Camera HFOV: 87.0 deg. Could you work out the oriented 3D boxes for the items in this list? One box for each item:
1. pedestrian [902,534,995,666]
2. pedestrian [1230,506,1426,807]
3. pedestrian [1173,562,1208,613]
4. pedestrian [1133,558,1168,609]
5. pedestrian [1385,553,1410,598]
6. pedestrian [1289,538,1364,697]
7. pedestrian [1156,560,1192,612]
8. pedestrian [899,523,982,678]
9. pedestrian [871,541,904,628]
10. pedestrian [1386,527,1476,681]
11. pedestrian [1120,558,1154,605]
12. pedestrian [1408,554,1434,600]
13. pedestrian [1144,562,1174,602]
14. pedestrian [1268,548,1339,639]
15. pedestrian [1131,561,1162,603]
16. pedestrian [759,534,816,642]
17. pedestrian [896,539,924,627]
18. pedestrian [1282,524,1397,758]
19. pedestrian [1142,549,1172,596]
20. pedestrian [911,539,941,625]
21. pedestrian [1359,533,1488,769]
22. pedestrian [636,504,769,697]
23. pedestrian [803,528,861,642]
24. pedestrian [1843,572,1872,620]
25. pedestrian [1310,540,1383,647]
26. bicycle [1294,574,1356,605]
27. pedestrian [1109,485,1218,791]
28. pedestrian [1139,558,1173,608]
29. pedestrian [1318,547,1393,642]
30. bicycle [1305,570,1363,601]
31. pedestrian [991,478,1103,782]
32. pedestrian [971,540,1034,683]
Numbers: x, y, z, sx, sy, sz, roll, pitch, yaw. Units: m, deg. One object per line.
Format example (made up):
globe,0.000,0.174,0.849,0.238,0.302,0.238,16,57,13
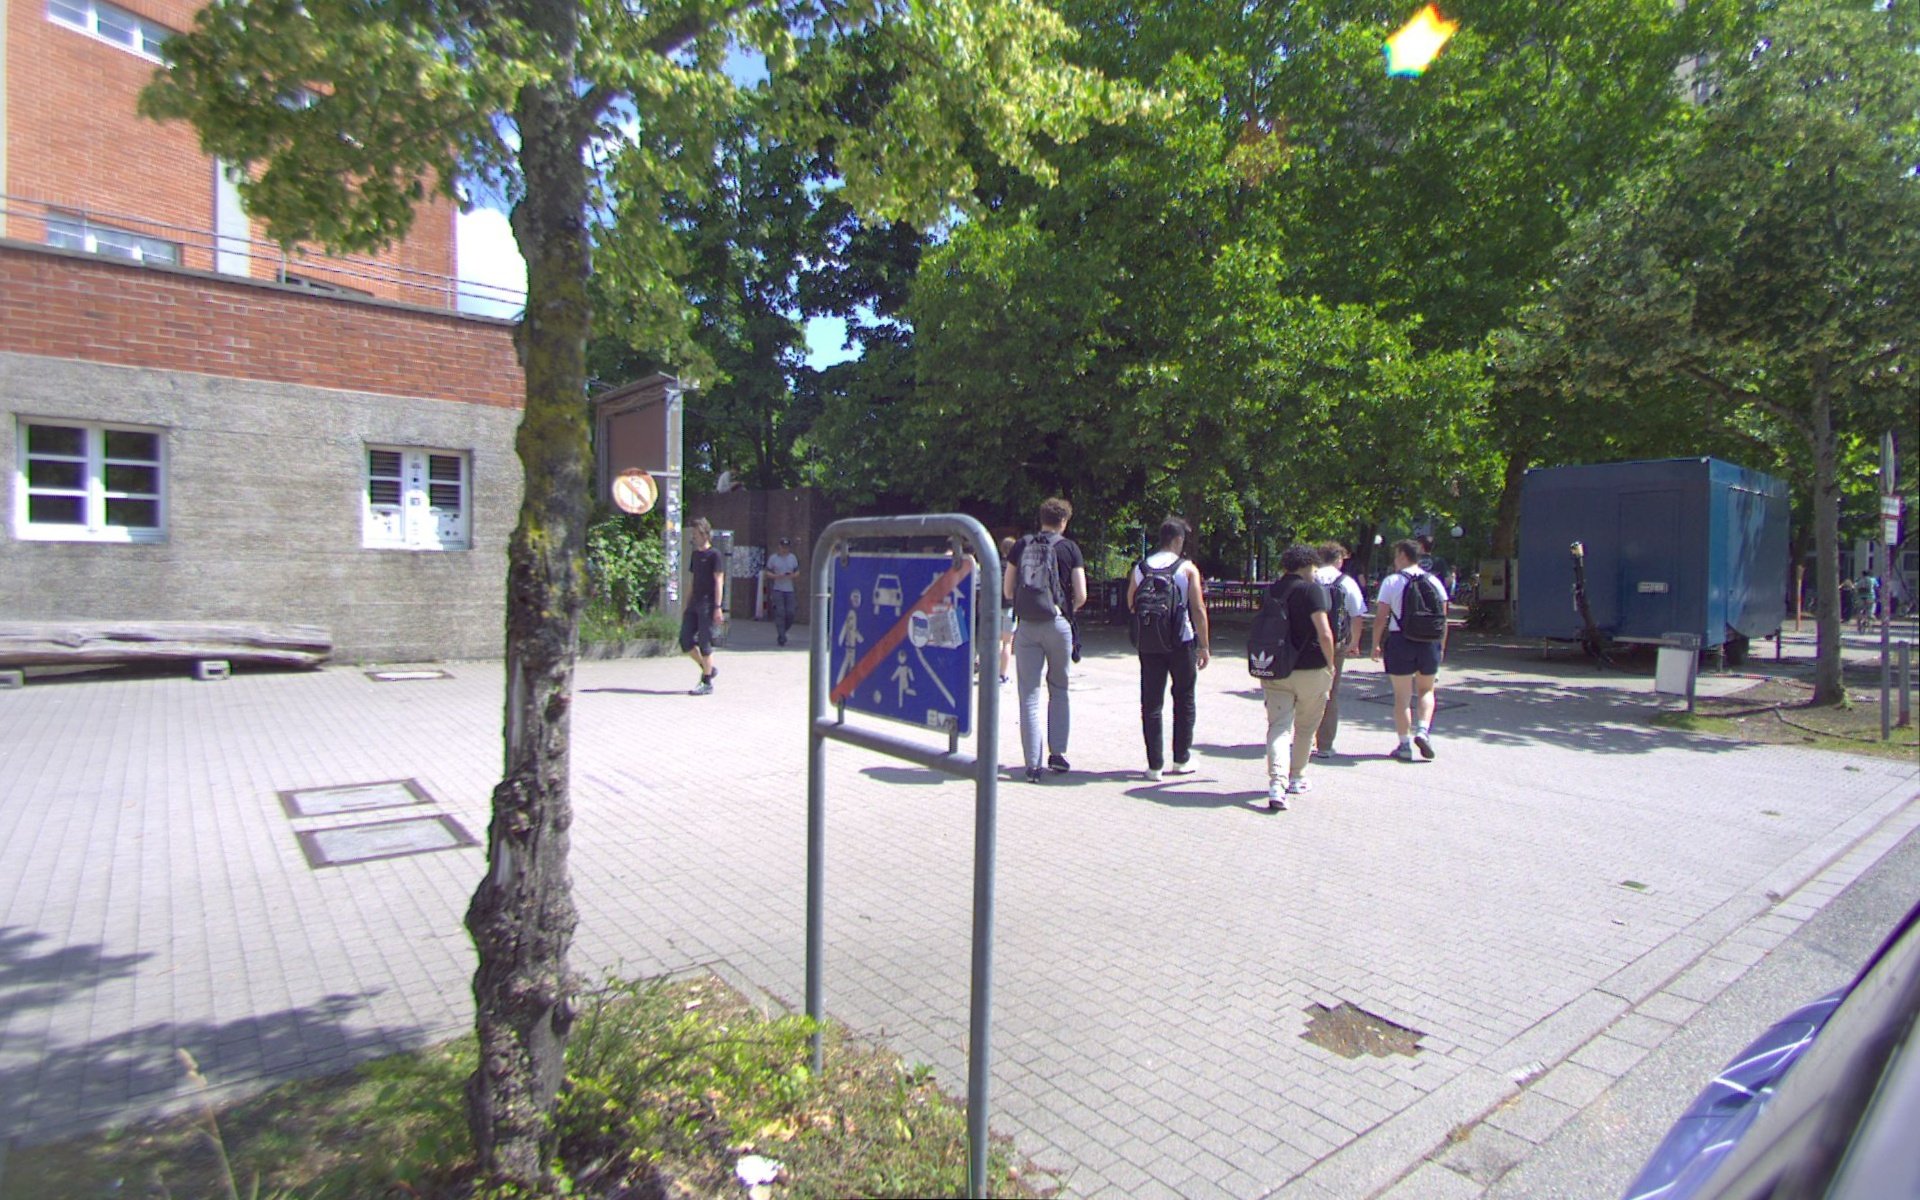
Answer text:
pedestrian,-0.166,-0.034,13.928,1.105,1.737,0.699,2,3,43
pedestrian,2.331,0.315,6.495,0.836,1.794,0.806,0,3,-12
pedestrian,6.381,-0.344,28.043,0.717,1.363,0.570,1,4,-43
pedestrian,5.291,-0.457,28.085,0.717,1.363,0.570,1,4,-43
pedestrian,19.634,-1.117,45.430,0.828,1.972,1.067,4,3,31
pedestrian,4.254,0.163,11.814,0.694,1.740,0.990,2,4,16
pedestrian,5.809,-0.387,27.458,0.717,1.363,0.570,1,4,-43
pedestrian,-0.234,-0.018,12.340,0.707,1.809,0.742,2,3,41
pedestrian,-1.631,-0.359,22.739,0.523,1.905,0.554,2,3,23
pedestrian,6.095,0.019,13.084,0.849,1.882,1.102,2,3,35
pedestrian,5.428,-0.567,31.012,0.707,1.363,0.668,1,4,-43
pedestrian,20.452,-1.035,44.897,0.828,1.972,1.067,4,3,31
pedestrian,6.586,-0.590,33.503,0.612,1.286,0.668,1,4,-43
pedestrian,6.505,-0.154,19.184,0.932,1.658,0.878,-1,3,-39
pedestrian,6.048,-0.582,32.832,0.612,1.286,0.668,1,4,-43
pedestrian,-2.894,-0.216,16.935,0.716,1.760,0.837,-1,2,-27
pedestrian,-1.108,-0.371,22.305,0.547,1.906,0.530,1,0,-9
pedestrian,3.056,0.293,8.225,0.668,1.760,0.905,3,2,13
pedestrian,6.972,-0.962,35.810,0.715,1.600,0.659,5,4,38
pedestrian,-0.765,-0.403,22.846,0.518,1.906,0.449,0,0,-29
pedestrian,3.690,0.355,8.141,0.690,1.760,0.980,2,3,12
pedestrian,-2.678,-0.021,10.553,0.760,1.890,1.061,4,3,39
pedestrian,-2.219,-0.254,17.496,0.716,1.907,0.837,1,0,-28
pedestrian,31.782,-0.151,35.843,0.911,1.590,0.570,-4,6,-38
pedestrian,6.079,-0.113,15.952,0.836,1.615,0.829,2,2,8
bicycle,13.021,-0.392,36.129,1.946,0.991,0.606,3,3,33
pedestrian,1.439,0.225,7.093,0.610,2.004,0.824,2,3,20
pedestrian,5.593,-0.487,28.887,0.717,1.363,0.570,1,4,-43
pedestrian,7.226,-0.123,18.512,0.932,1.657,0.878,-1,4,-39
bicycle,13.745,-0.548,37.209,1.946,1.052,0.430,3,3,33
pedestrian,0.629,0.174,7.146,0.681,2.004,0.826,1,3,11
pedestrian,0.503,0.116,11.981,0.501,1.650,0.563,2,3,41
